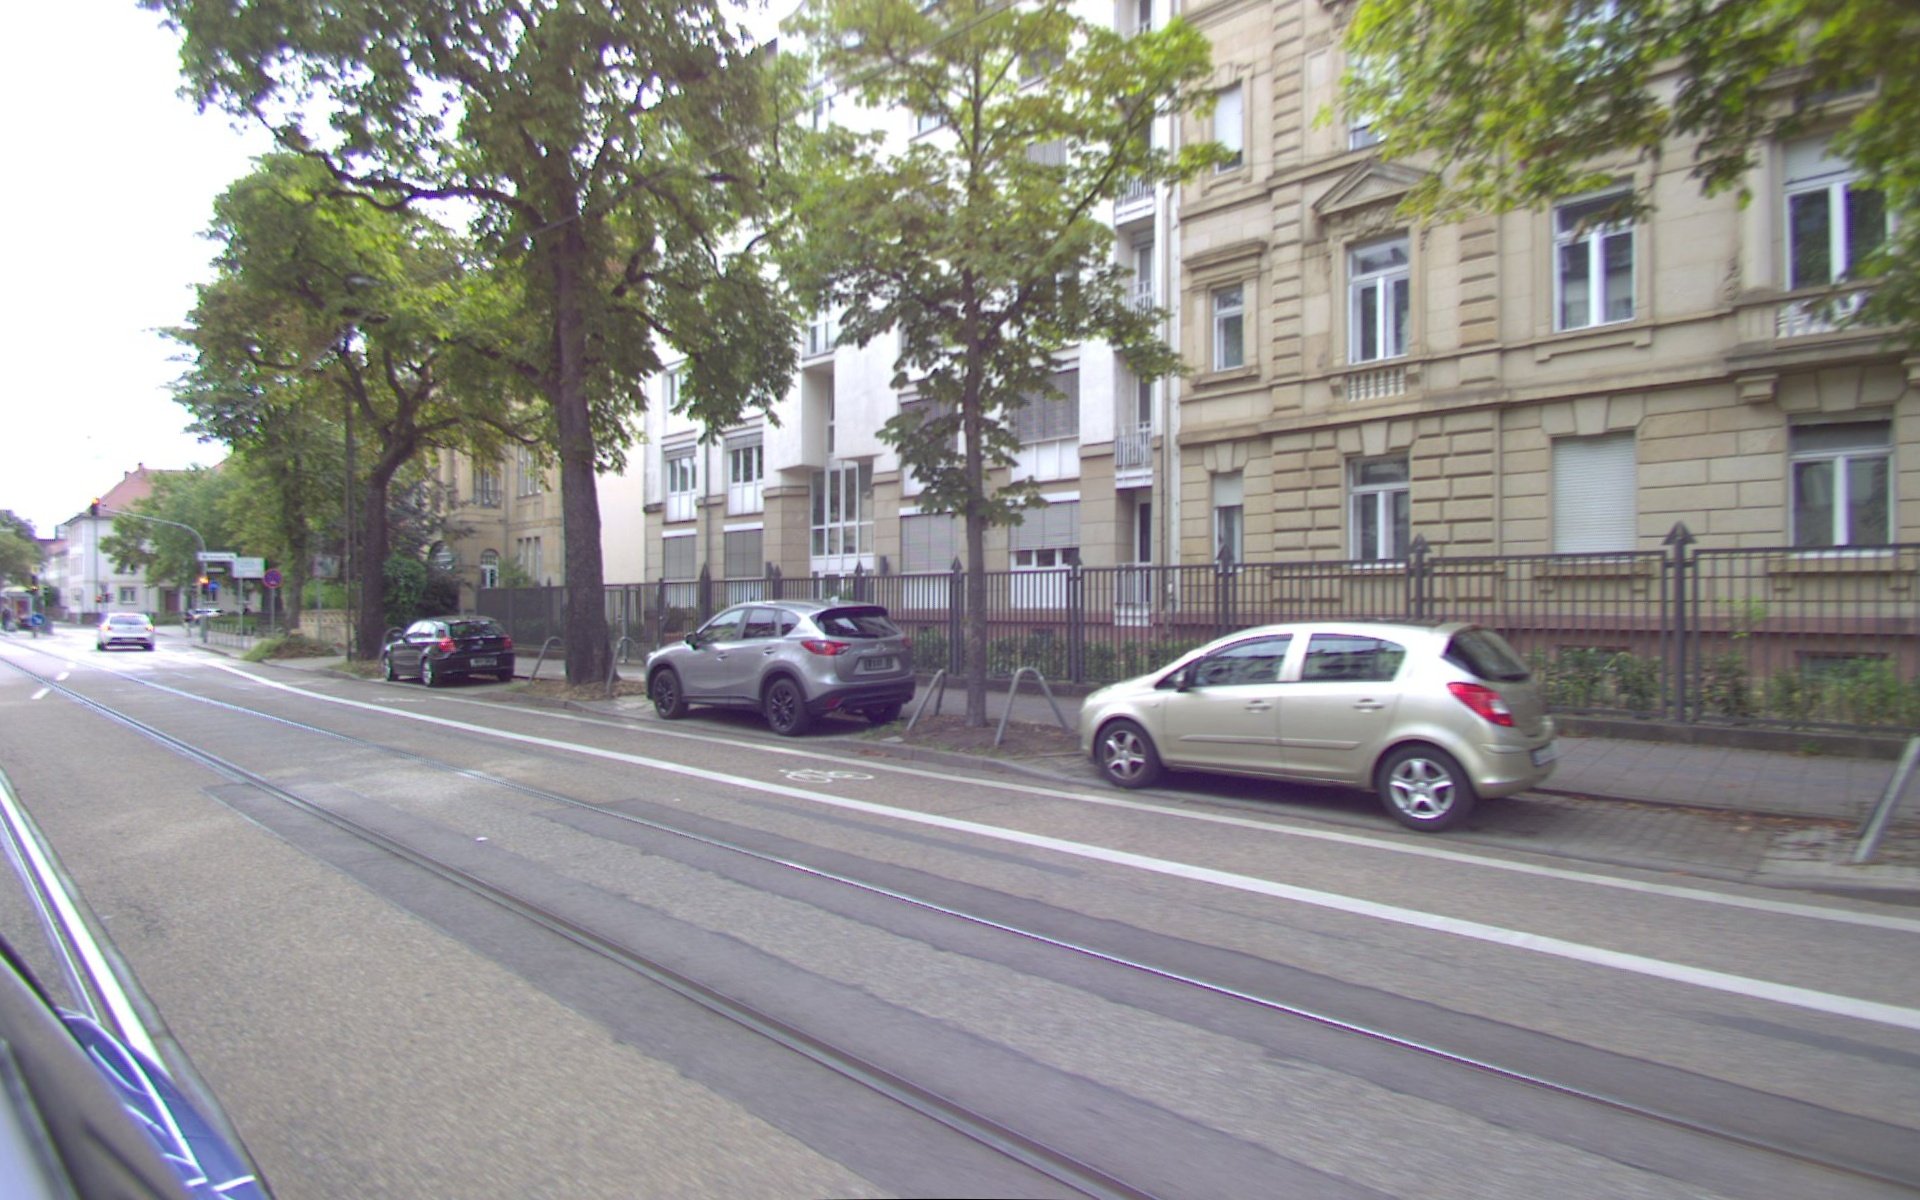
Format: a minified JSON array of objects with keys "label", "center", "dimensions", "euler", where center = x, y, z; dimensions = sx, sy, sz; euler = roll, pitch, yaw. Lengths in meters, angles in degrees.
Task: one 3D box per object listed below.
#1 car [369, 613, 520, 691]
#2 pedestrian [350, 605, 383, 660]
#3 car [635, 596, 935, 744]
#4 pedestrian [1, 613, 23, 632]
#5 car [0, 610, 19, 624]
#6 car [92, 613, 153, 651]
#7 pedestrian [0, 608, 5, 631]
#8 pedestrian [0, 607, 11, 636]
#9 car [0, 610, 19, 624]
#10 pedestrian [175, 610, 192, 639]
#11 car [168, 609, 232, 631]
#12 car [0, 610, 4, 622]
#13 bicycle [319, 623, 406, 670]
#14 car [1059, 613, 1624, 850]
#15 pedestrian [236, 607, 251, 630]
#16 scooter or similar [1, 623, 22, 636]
[{"label":"car","center":[-11.306,1.055,22.053],"dimensions":[1.701,1.435,4.168],"euler":[-3,2,-45]},{"label":"pedestrian","center":[-19.037,1.032,32.462],"dimensions":[0.700,1.748,0.698],"euler":[-1,0,39]},{"label":"car","center":[-2.486,0.815,13.644],"dimensions":[4.357,1.686,1.692],"euler":[-1,0,43]},{"label":"pedestrian","center":[-64.600,1.529,68.987],"dimensions":[0.723,1.246,1.019],"euler":[-1,0,41]},{"label":"car","center":[-119.339,2.146,125.457],"dimensions":[3.941,1.739,1.878],"euler":[-1,0,-45]},{"label":"car","center":[-32.823,1.247,39.639],"dimensions":[1.552,1.427,4.004],"euler":[3,-3,-43]},{"label":"pedestrian","center":[-70.493,1.430,74.245],"dimensions":[0.618,1.716,0.581],"euler":[-1,0,39]},{"label":"pedestrian","center":[-56.913,1.254,60.138],"dimensions":[0.815,1.703,0.675],"euler":[-1,-2,43]},{"label":"car","center":[-125.762,2.217,132.258],"dimensions":[3.941,1.739,1.878],"euler":[-1,0,-45]},{"label":"pedestrian","center":[-46.395,1.444,60.456],"dimensions":[0.711,1.703,0.646],"euler":[-1,-1,39]},{"label":"car","center":[-68.237,1.759,90.926],"dimensions":[4.130,1.879,1.858],"euler":[-1,0,-12]},{"label":"car","center":[-141.011,2.396,146.416],"dimensions":[3.941,1.739,1.878],"euler":[-1,0,-45]},{"label":"bicycle","center":[-16.614,1.274,28.205],"dimensions":[0.826,1.184,2.229],"euler":[-1,0,10]},{"label":"car","center":[2.929,0.856,8.371],"dimensions":[4.079,1.479,1.583],"euler":[-1,0,43]},{"label":"pedestrian","center":[-63.445,1.639,89.570],"dimensions":[0.850,2.029,0.766],"euler":[-1,0,-12]},{"label":"scooter or similar","center":[-56.109,1.756,59.882],"dimensions":[0.659,0.718,0.605],"euler":[2,-1,-15]}]
